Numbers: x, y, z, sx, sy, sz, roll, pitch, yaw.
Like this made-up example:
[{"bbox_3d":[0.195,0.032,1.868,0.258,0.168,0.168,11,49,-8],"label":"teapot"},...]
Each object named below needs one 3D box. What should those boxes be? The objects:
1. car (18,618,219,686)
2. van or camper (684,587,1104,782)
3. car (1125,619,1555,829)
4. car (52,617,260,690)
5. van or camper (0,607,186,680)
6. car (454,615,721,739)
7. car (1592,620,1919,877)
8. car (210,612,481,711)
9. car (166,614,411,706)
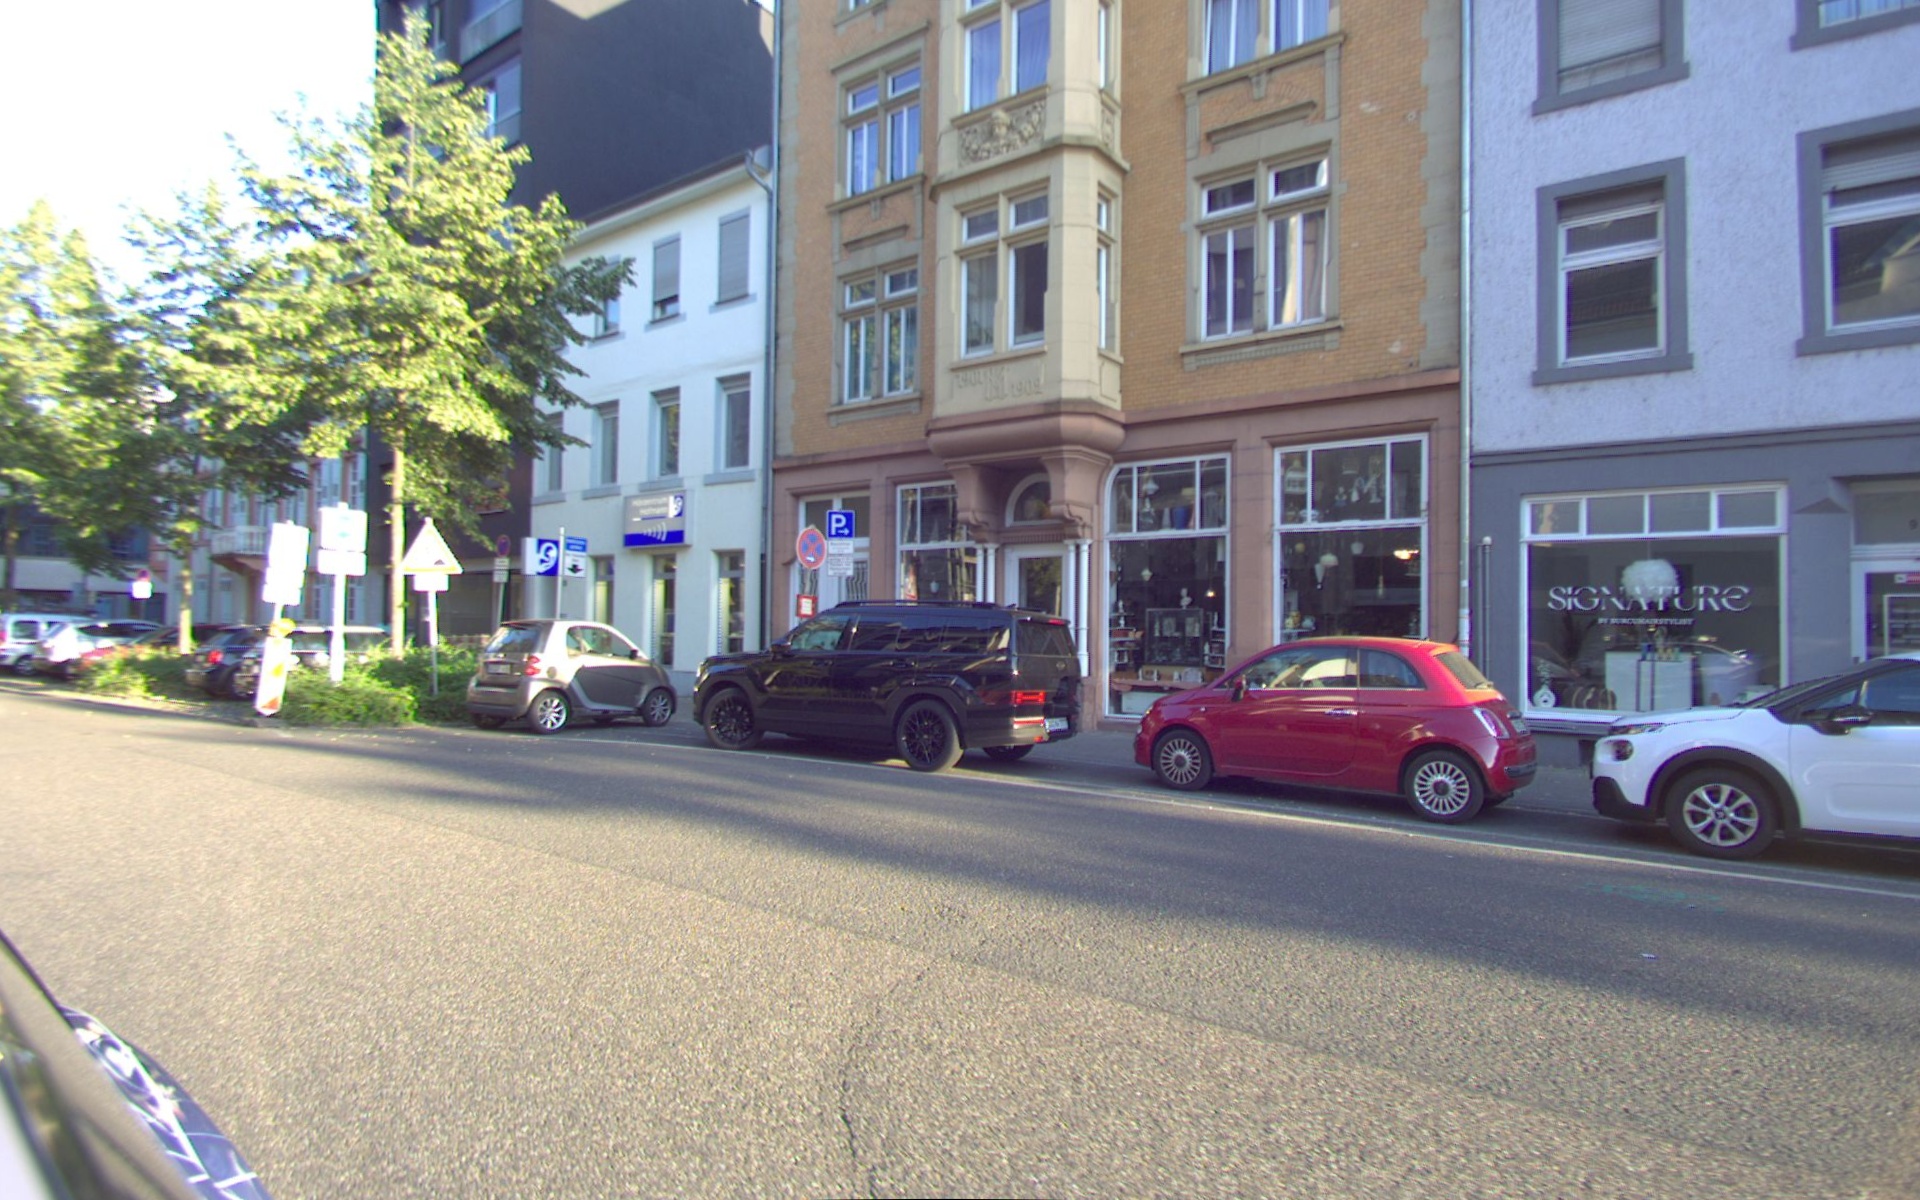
[{"bbox_3d":[-22.239,1.403,26.868,1.853,1.683,3.654,-1,-4,34],"label":"car"},{"bbox_3d":[-0.805,0.847,11.410,4.444,1.821,1.876,-1,-3,31],"label":"van or camper"},{"bbox_3d":[3.403,0.996,9.313,3.417,1.582,1.511,-1,-4,38],"label":"car"},{"bbox_3d":[-20.080,1.364,25.416,1.853,1.683,3.654,-1,-4,34],"label":"car"},{"bbox_3d":[-26.143,1.347,30.210,1.853,2.021,4.403,-1,-4,34],"label":"van or camper"},{"bbox_3d":[-5.324,1.058,14.834,1.503,1.588,3.441,-1,-3,33],"label":"car"},{"bbox_3d":[6.619,0.960,6.769,3.928,1.585,1.646,-1,-4,37],"label":"car"},{"bbox_3d":[-11.574,1.176,19.313,1.853,1.683,3.962,-1,-4,34],"label":"car"},{"bbox_3d":[-13.536,1.229,20.589,1.853,1.683,3.654,-1,-4,34],"label":"car"}]
